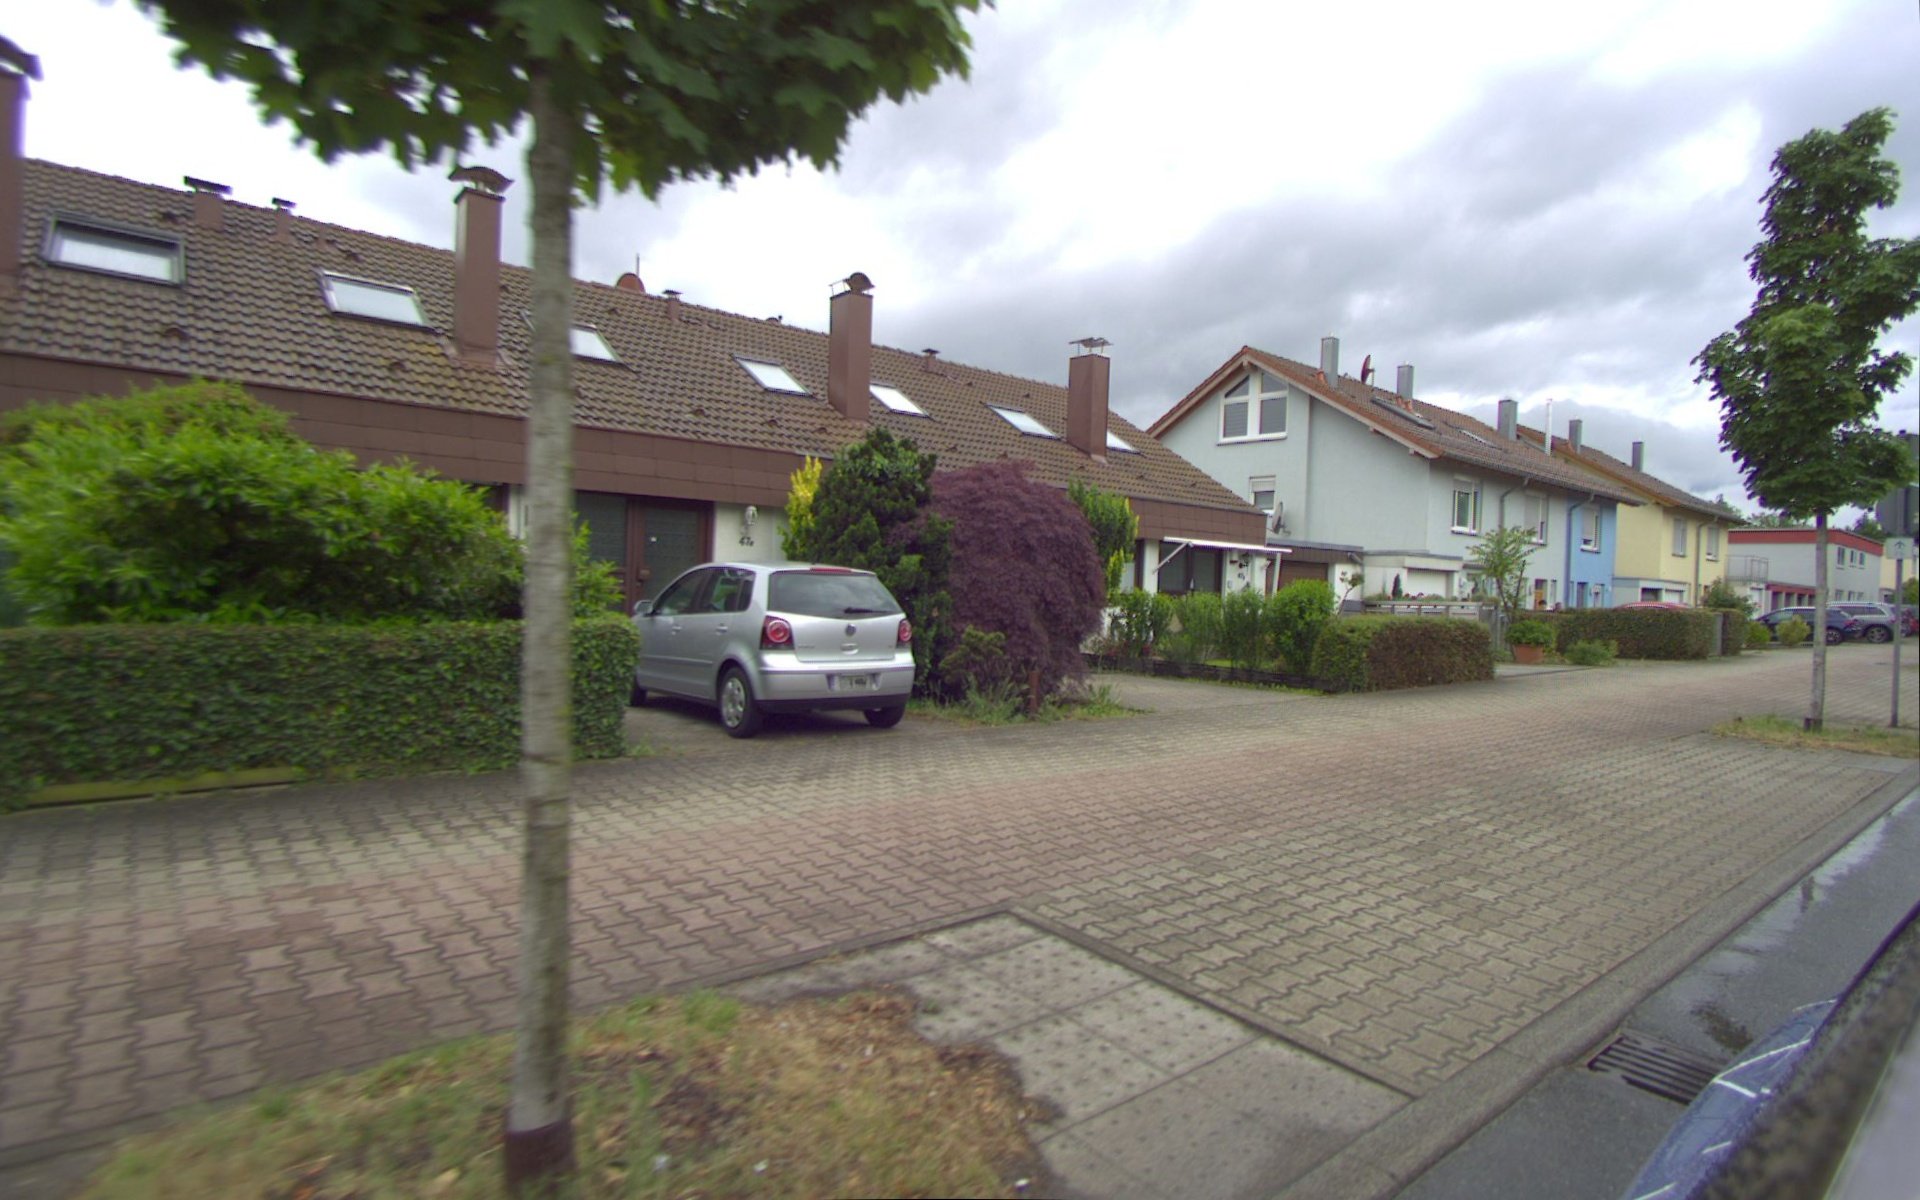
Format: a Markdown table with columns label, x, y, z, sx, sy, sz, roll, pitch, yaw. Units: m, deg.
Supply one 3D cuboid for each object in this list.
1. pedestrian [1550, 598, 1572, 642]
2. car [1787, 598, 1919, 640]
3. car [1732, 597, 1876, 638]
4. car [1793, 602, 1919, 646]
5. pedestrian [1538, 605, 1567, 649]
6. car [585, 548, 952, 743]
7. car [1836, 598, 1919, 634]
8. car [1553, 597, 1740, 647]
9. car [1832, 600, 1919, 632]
| label | x | y | z | sx | sy | sz | roll | pitch | yaw |
| --- | --- | --- | --- | --- | --- | --- | --- | --- | --- |
| pedestrian | 19.056 | 0.637 | 32.073 | 0.534 | 1.368 | 0.522 | 2 | 1 | 37 |
| car | 37.328 | 0.767 | 42.280 | 4.178 | 1.693 | 1.695 | -1 | -1 | 44 |
| car | 31.842 | 0.705 | 38.257 | 1.646 | 1.406 | 3.989 | 4 | -4 | -44 |
| car | 39.575 | 0.993 | 44.528 | 1.955 | 1.692 | 4.190 | 1 | 2 | -39 |
| pedestrian | 18.541 | 0.846 | 31.678 | 0.552 | 1.368 | 0.498 | 1 | 1 | -17 |
| car | -2.025 | 0.263 | 9.709 | 1.813 | 1.460 | 3.998 | 0 | 2 | -38 |
| car | 49.435 | 0.848 | 53.862 | 1.891 | 1.742 | 3.995 | 0 | 2 | -41 |
| car | 19.429 | 0.588 | 28.747 | 4.293 | 1.277 | 1.656 | 1 | 0 | 37 |
| car | 47.529 | 0.817 | 52.151 | 1.677 | 1.460 | 3.699 | 0 | 2 | -41 |
